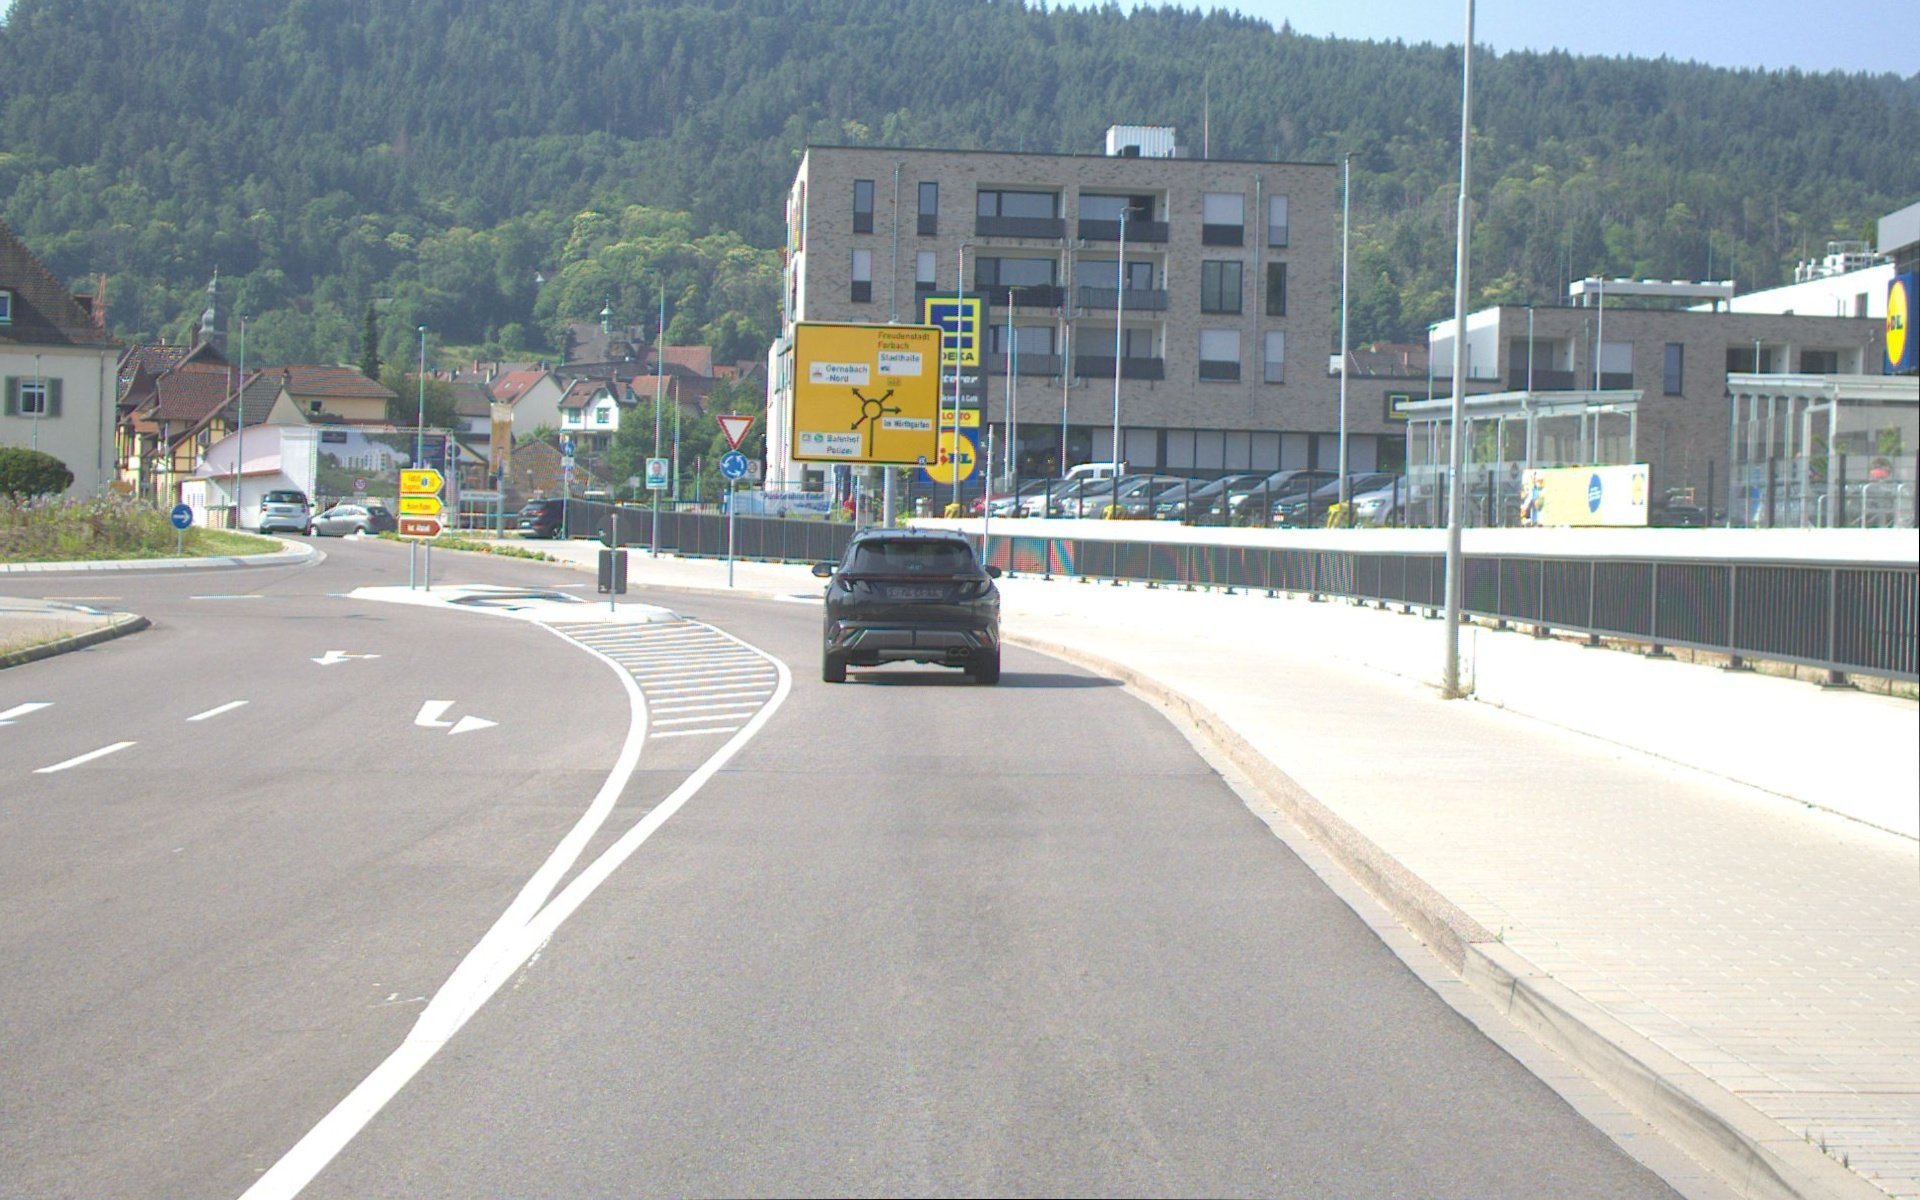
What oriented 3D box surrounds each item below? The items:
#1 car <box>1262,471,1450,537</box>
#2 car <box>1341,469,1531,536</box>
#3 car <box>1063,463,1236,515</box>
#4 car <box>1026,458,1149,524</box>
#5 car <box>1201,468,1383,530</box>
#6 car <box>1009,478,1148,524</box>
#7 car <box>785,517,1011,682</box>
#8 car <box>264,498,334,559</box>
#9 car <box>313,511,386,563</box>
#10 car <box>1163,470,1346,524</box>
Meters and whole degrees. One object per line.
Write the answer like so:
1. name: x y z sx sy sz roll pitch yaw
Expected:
1. car: 9.188 -2.233 79.824 4.060 1.399 1.486 1 2 -19
2. car: 10.623 -2.181 76.753 3.804 1.359 1.681 1 2 -19
3. car: 5.075 -2.975 92.196 4.277 1.241 1.665 1 2 -19
4. car: 4.211 -3.587 113.470 3.987 2.128 2.000 1 1 3
5. car: 8.046 -2.455 83.474 4.004 1.399 1.726 1 2 -19
6. car: 3.357 -2.823 97.655 3.554 1.195 1.715 1 2 -18
7. car: -0.732 -0.037 37.317 1.880 1.678 4.001 1 1 -9
8. car: -22.337 -2.410 116.262 1.993 2.007 4.001 1 1 -6
9. car: -23.868 -2.461 134.334 1.993 2.007 4.001 0 1 -22
10. car: 7.437 -2.596 86.827 4.212 1.241 1.745 1 2 -19
